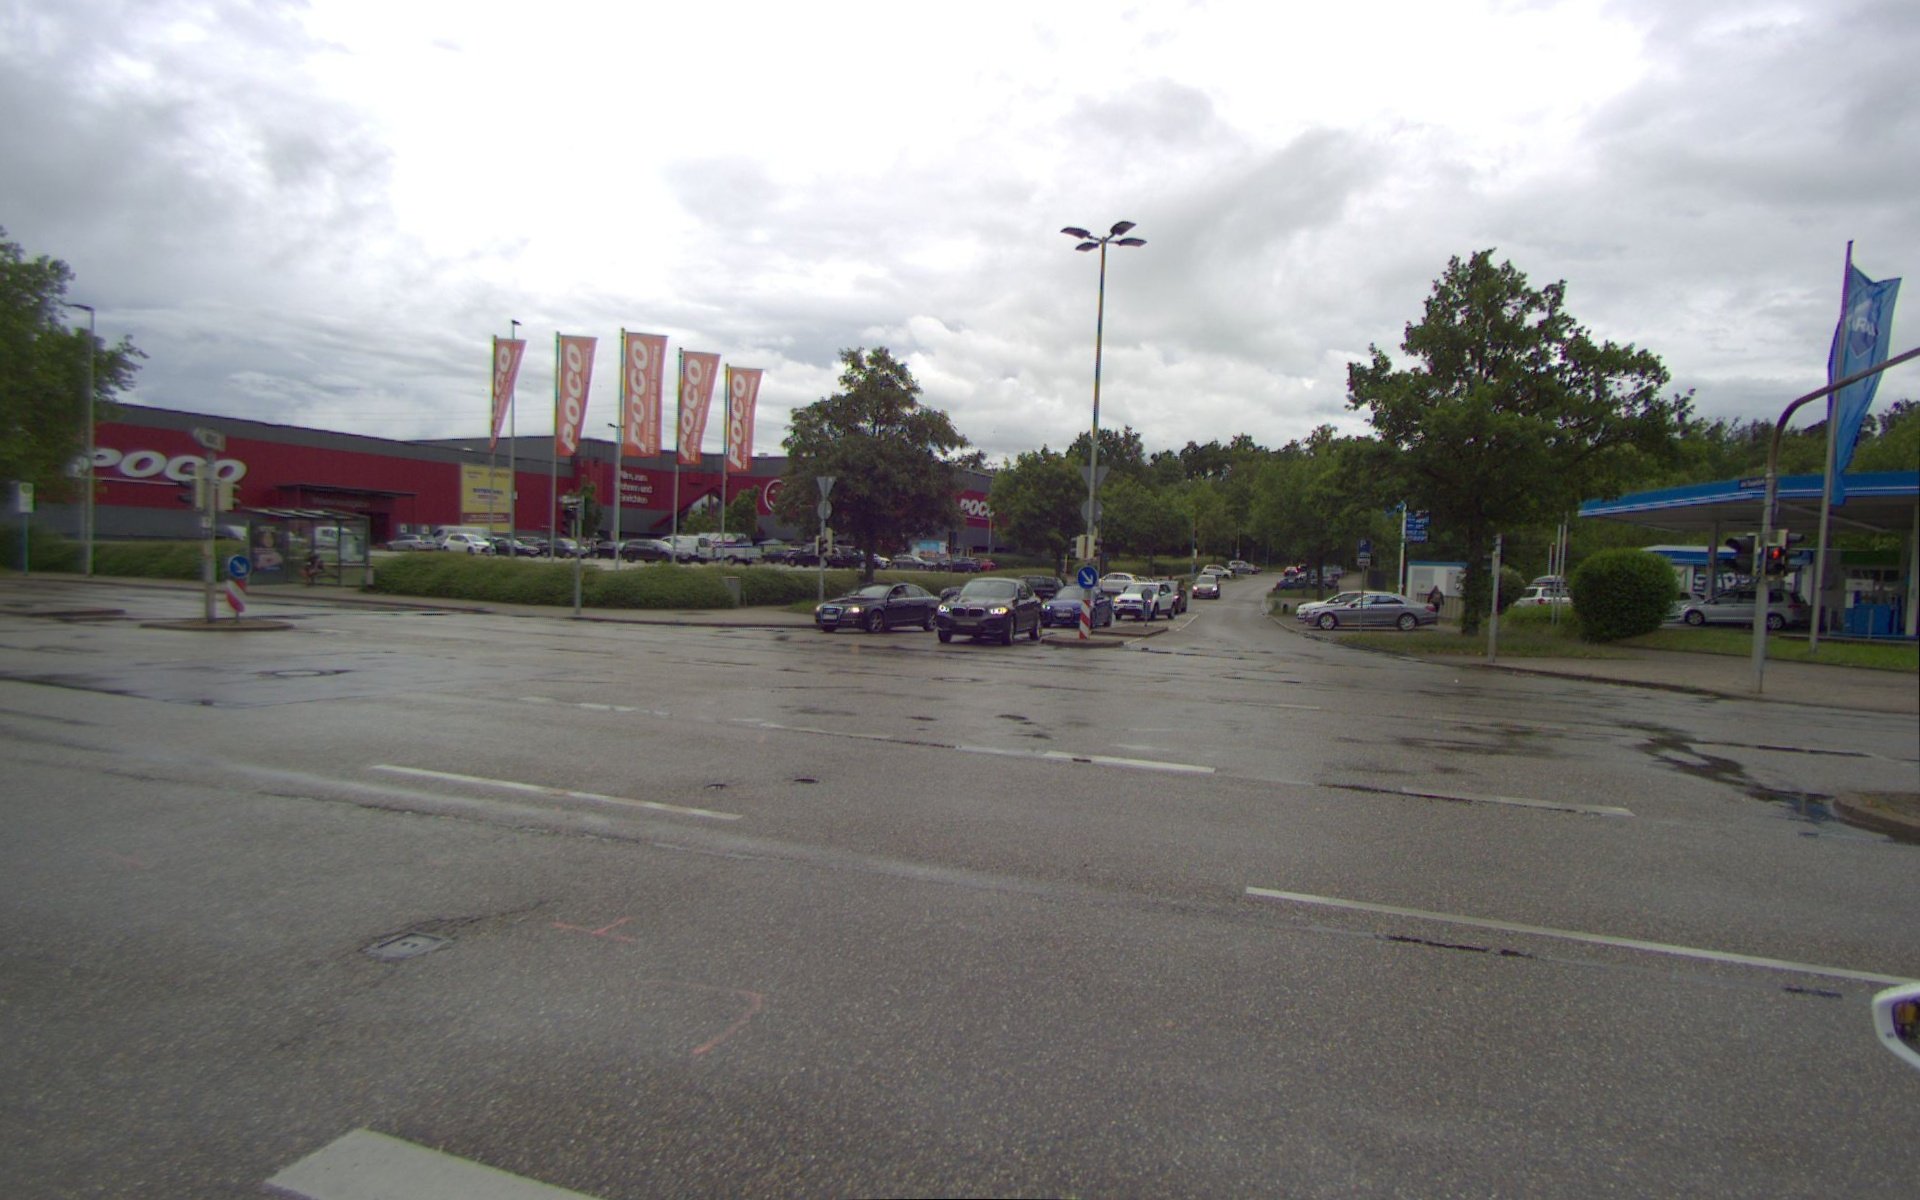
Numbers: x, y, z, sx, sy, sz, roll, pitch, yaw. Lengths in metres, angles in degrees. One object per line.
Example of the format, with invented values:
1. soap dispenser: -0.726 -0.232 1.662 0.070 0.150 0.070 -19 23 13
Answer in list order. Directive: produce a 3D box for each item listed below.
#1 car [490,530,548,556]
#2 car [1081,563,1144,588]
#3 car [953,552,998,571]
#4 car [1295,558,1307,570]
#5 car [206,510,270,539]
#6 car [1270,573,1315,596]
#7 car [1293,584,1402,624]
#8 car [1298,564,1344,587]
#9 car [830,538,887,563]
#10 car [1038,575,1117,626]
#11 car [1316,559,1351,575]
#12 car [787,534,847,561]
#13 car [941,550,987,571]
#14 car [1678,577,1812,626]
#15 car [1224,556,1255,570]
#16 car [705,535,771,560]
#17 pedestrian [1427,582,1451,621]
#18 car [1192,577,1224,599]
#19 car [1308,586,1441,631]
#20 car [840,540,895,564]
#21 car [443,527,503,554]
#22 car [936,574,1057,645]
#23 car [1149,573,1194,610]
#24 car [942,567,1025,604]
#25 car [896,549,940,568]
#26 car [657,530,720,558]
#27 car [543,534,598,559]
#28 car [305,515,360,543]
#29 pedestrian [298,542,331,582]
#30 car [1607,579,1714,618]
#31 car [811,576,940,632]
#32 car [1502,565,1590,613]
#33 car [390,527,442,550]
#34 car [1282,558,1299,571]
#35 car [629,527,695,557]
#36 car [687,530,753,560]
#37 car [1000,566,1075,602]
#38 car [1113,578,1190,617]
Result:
1. car: -31.555 -4.064 71.882 3.888 1.667 1.671 3 1 26
2. car: 11.062 -1.755 73.079 4.202 1.631 1.684 3 1 22
3. car: 1.444 -3.583 93.739 3.755 1.667 1.671 3 1 26
4. car: 55.402 -5.862 163.303 1.775 1.762 4.000 3 1 20
5. car: -46.866 -4.899 65.181 3.888 1.667 1.695 3 1 26
6. car: 26.977 -1.226 81.501 3.403 1.676 1.616 3 2 20
7. car: 17.791 0.160 46.357 4.496 1.610 1.930 3 1 18
8. car: 31.307 -2.105 87.194 3.637 1.773 1.697 3 2 20
9. car: -7.436 -3.599 73.543 3.755 1.667 1.671 3 1 26
10. car: 4.273 0.009 35.917 1.766 1.655 4.551 3 1 19
11. car: 46.096 -4.030 124.129 3.921 1.762 1.810 3 1 19
12. car: -9.816 -3.625 69.142 3.755 1.667 1.671 3 1 26
13. car: 0.367 -3.582 91.170 3.755 1.667 1.671 3 1 26
14. car: 33.305 0.022 42.716 1.926 1.832 4.087 -1 4 -35
15. car: 39.188 -5.175 140.930 3.923 1.818 1.855 3 1 23
16. car: -14.057 -3.329 63.494 3.836 1.399 1.671 3 1 26
17. pedestrian: 21.325 0.069 44.757 0.795 1.684 0.886 2 1 20
18. car: 18.090 -0.873 73.127 1.670 1.475 3.671 3 1 22
19. car: 16.825 0.316 41.015 4.804 1.569 2.000 2 1 18
20. car: -7.026 -3.638 76.352 3.755 1.667 1.671 3 1 26
21. car: -33.730 -4.126 69.527 3.888 1.667 1.671 3 1 26
22. car: 1.040 0.197 25.734 1.864 1.574 4.592 3 1 18
23. car: 10.865 -0.468 51.429 1.571 1.720 3.537 4 3 23
24. car: 1.115 -0.709 48.076 3.588 1.574 1.685 3 1 18
25. car: -3.902 -3.866 93.435 3.755 1.667 1.671 3 1 26
26. car: -17.594 -3.633 65.081 3.755 1.667 1.630 3 1 26
27. car: -29.518 -4.051 76.070 3.888 1.667 1.671 3 1 26
28. car: -47.344 -5.355 75.793 3.678 1.951 1.790 3 1 24
29. pedestrian: -24.015 -1.407 37.378 0.629 1.450 0.781 3 1 21
30. car: 34.608 -0.109 49.713 1.779 1.751 3.956 1 1 -38
31. car: -2.342 0.102 28.778 1.756 1.423 3.993 3 1 29
32. car: 24.287 -0.473 41.784 1.777 1.821 3.701 3 1 7
33. car: -43.910 -4.931 81.042 3.888 1.667 1.695 3 1 26
34. car: 44.557 -4.755 135.350 1.779 1.502 3.748 3 1 24
35. car: -18.450 -3.614 62.216 3.755 1.667 1.671 3 1 26
36. car: -20.408 -4.695 85.376 5.541 2.334 1.824 3 1 26
37. car: 4.083 -0.845 52.970 3.588 1.748 1.685 3 1 18
38. car: 8.343 -0.085 43.495 1.869 1.574 3.989 2 1 33
